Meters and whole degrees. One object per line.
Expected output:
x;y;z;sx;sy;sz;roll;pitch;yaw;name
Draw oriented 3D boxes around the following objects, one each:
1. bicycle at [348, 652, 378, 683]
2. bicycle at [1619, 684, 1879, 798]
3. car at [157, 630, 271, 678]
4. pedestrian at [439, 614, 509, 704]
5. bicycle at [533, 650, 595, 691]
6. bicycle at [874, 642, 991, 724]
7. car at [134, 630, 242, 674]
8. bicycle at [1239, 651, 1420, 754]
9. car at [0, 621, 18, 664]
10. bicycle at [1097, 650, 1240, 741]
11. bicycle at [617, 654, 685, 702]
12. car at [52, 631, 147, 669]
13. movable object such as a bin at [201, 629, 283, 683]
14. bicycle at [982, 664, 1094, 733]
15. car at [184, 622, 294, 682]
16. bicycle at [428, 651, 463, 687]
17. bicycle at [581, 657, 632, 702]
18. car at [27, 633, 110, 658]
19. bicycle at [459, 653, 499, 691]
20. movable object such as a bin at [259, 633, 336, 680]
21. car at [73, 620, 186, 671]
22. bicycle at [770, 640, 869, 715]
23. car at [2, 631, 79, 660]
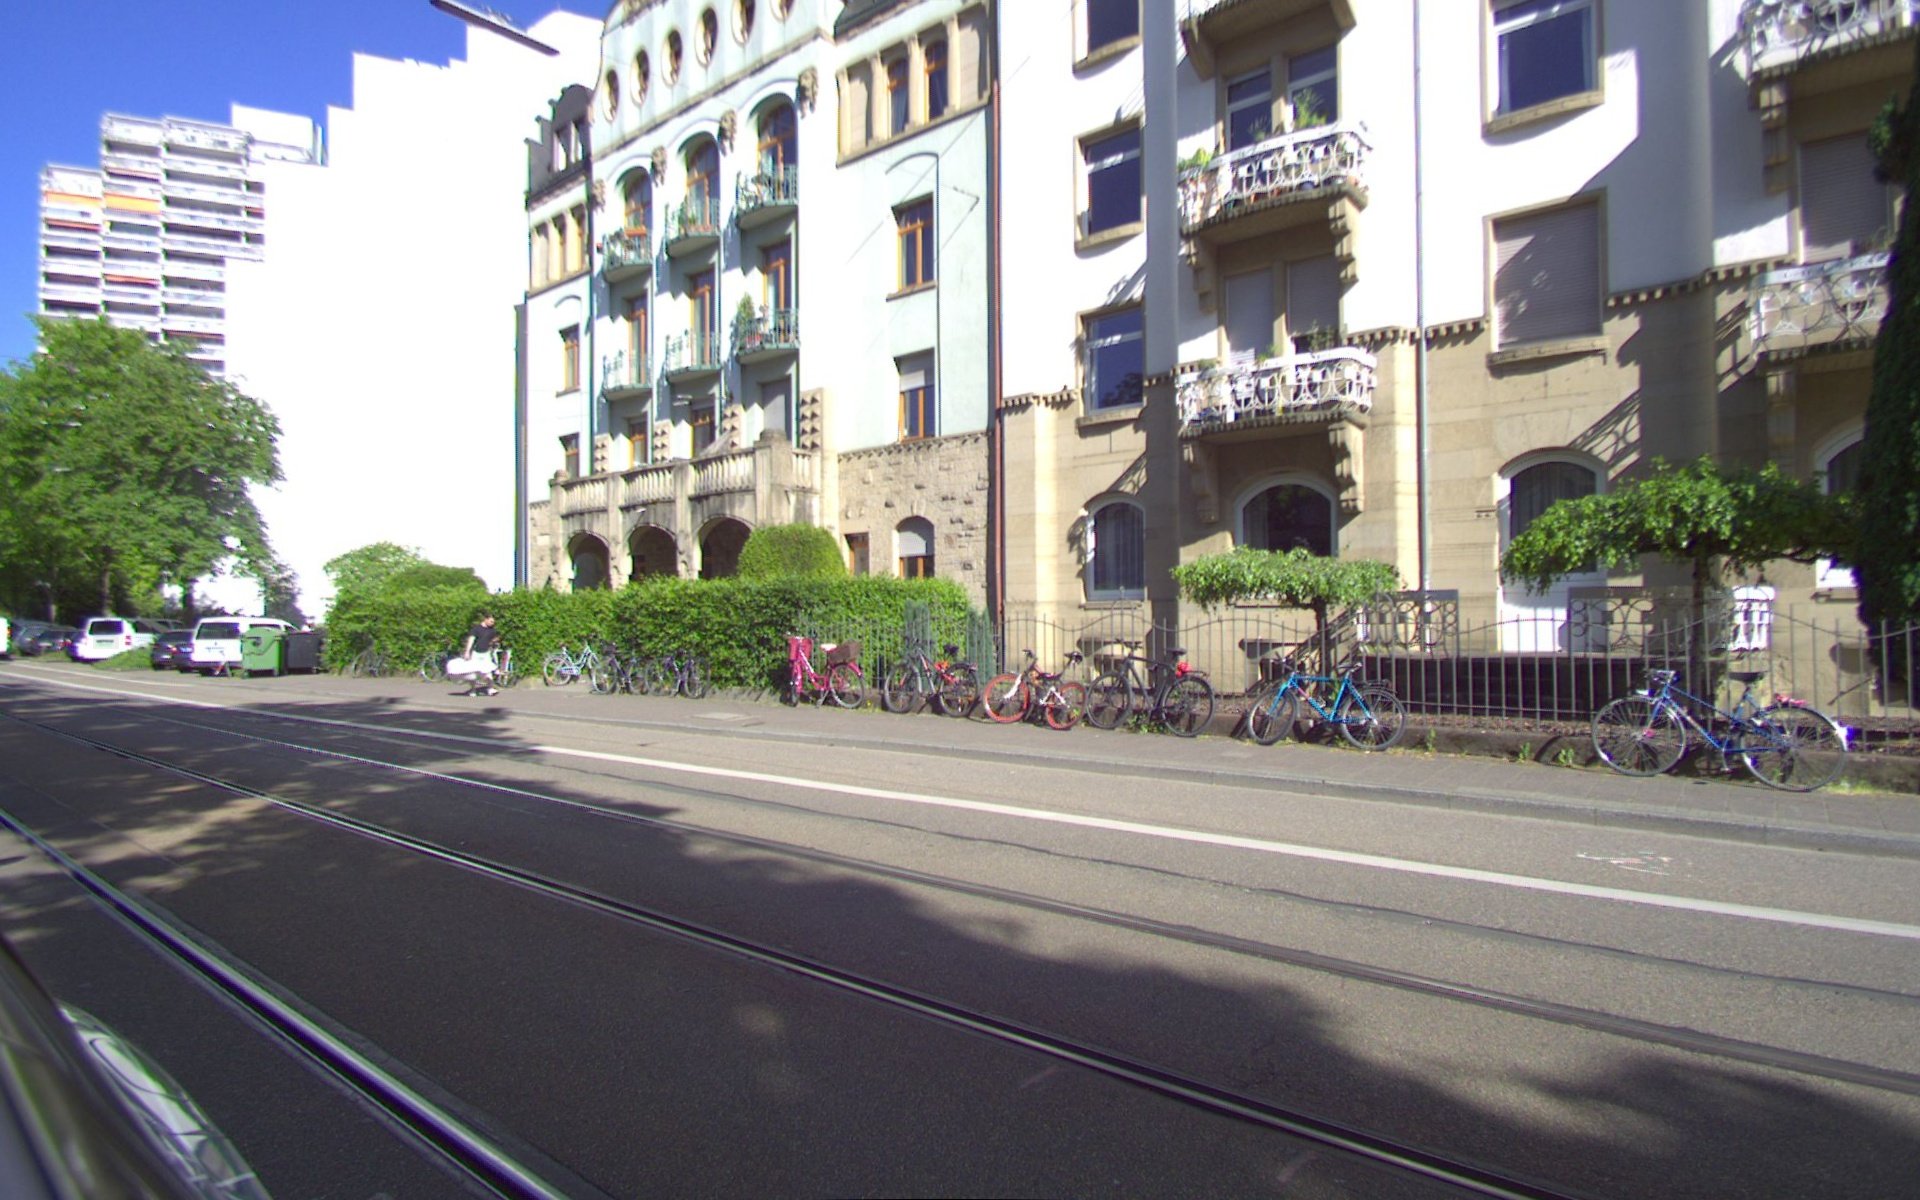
-15.645;1.761;26.493;1.263;0.767;0.293;-1;0;41;bicycle
6.411;1.120;8.305;1.651;0.767;0.314;-1;0;41;bicycle
-25.133;1.798;34.162;1.451;1.446;2.734;-1;0;24;car
-9.562;1.129;19.900;0.870;1.640;0.858;-1;4;41;pedestrian
-8.574;1.520;21.943;0.297;0.799;1.246;-1;0;41;bicycle
-0.406;1.115;14.023;1.815;1.031;0.400;-1;0;41;bicycle
-27.689;1.831;36.351;1.451;1.446;2.734;-1;0;24;car
3.829;1.039;10.604;1.748;0.949;0.400;-1;0;41;bicycle
-45.163;1.955;46.832;1.968;1.918;4.008;-1;0;-39;car
2.398;1.080;11.782;1.648;0.949;0.400;-1;0;41;bicycle
-5.582;1.390;18.240;1.581;0.767;0.400;-1;0;41;bicycle
-36.170;2.084;42.591;1.451;1.446;2.734;-1;0;24;car
-20.815;1.590;29.338;2.095;1.443;1.493;-1;0;41;movable object such as a bin
0.968;1.226;12.857;1.542;0.767;0.314;-1;0;41;bicycle
-22.889;1.654;32.258;1.438;1.787;3.189;-1;-3;-5;car
-11.956;1.600;23.505;1.263;0.767;0.293;-1;0;41;bicycle
-6.724;1.500;19.216;1.263;0.767;0.335;-1;0;41;bicycle
-42.928;2.180;48.769;1.220;1.097;2.734;-1;0;24;car
-10.611;1.583;22.323;1.263;0.767;0.314;-1;0;41;bicycle
-20.462;1.718;31.261;2.095;1.326;1.482;-1;0;41;movable object such as a bin
-33.300;1.795;40.694;1.894;1.885;3.447;-1;0;-4;car
-2.163;1.156;15.440;1.815;1.031;0.400;-1;0;41;bicycle
-48.451;2.378;53.376;1.220;1.436;2.734;-1;0;24;car
